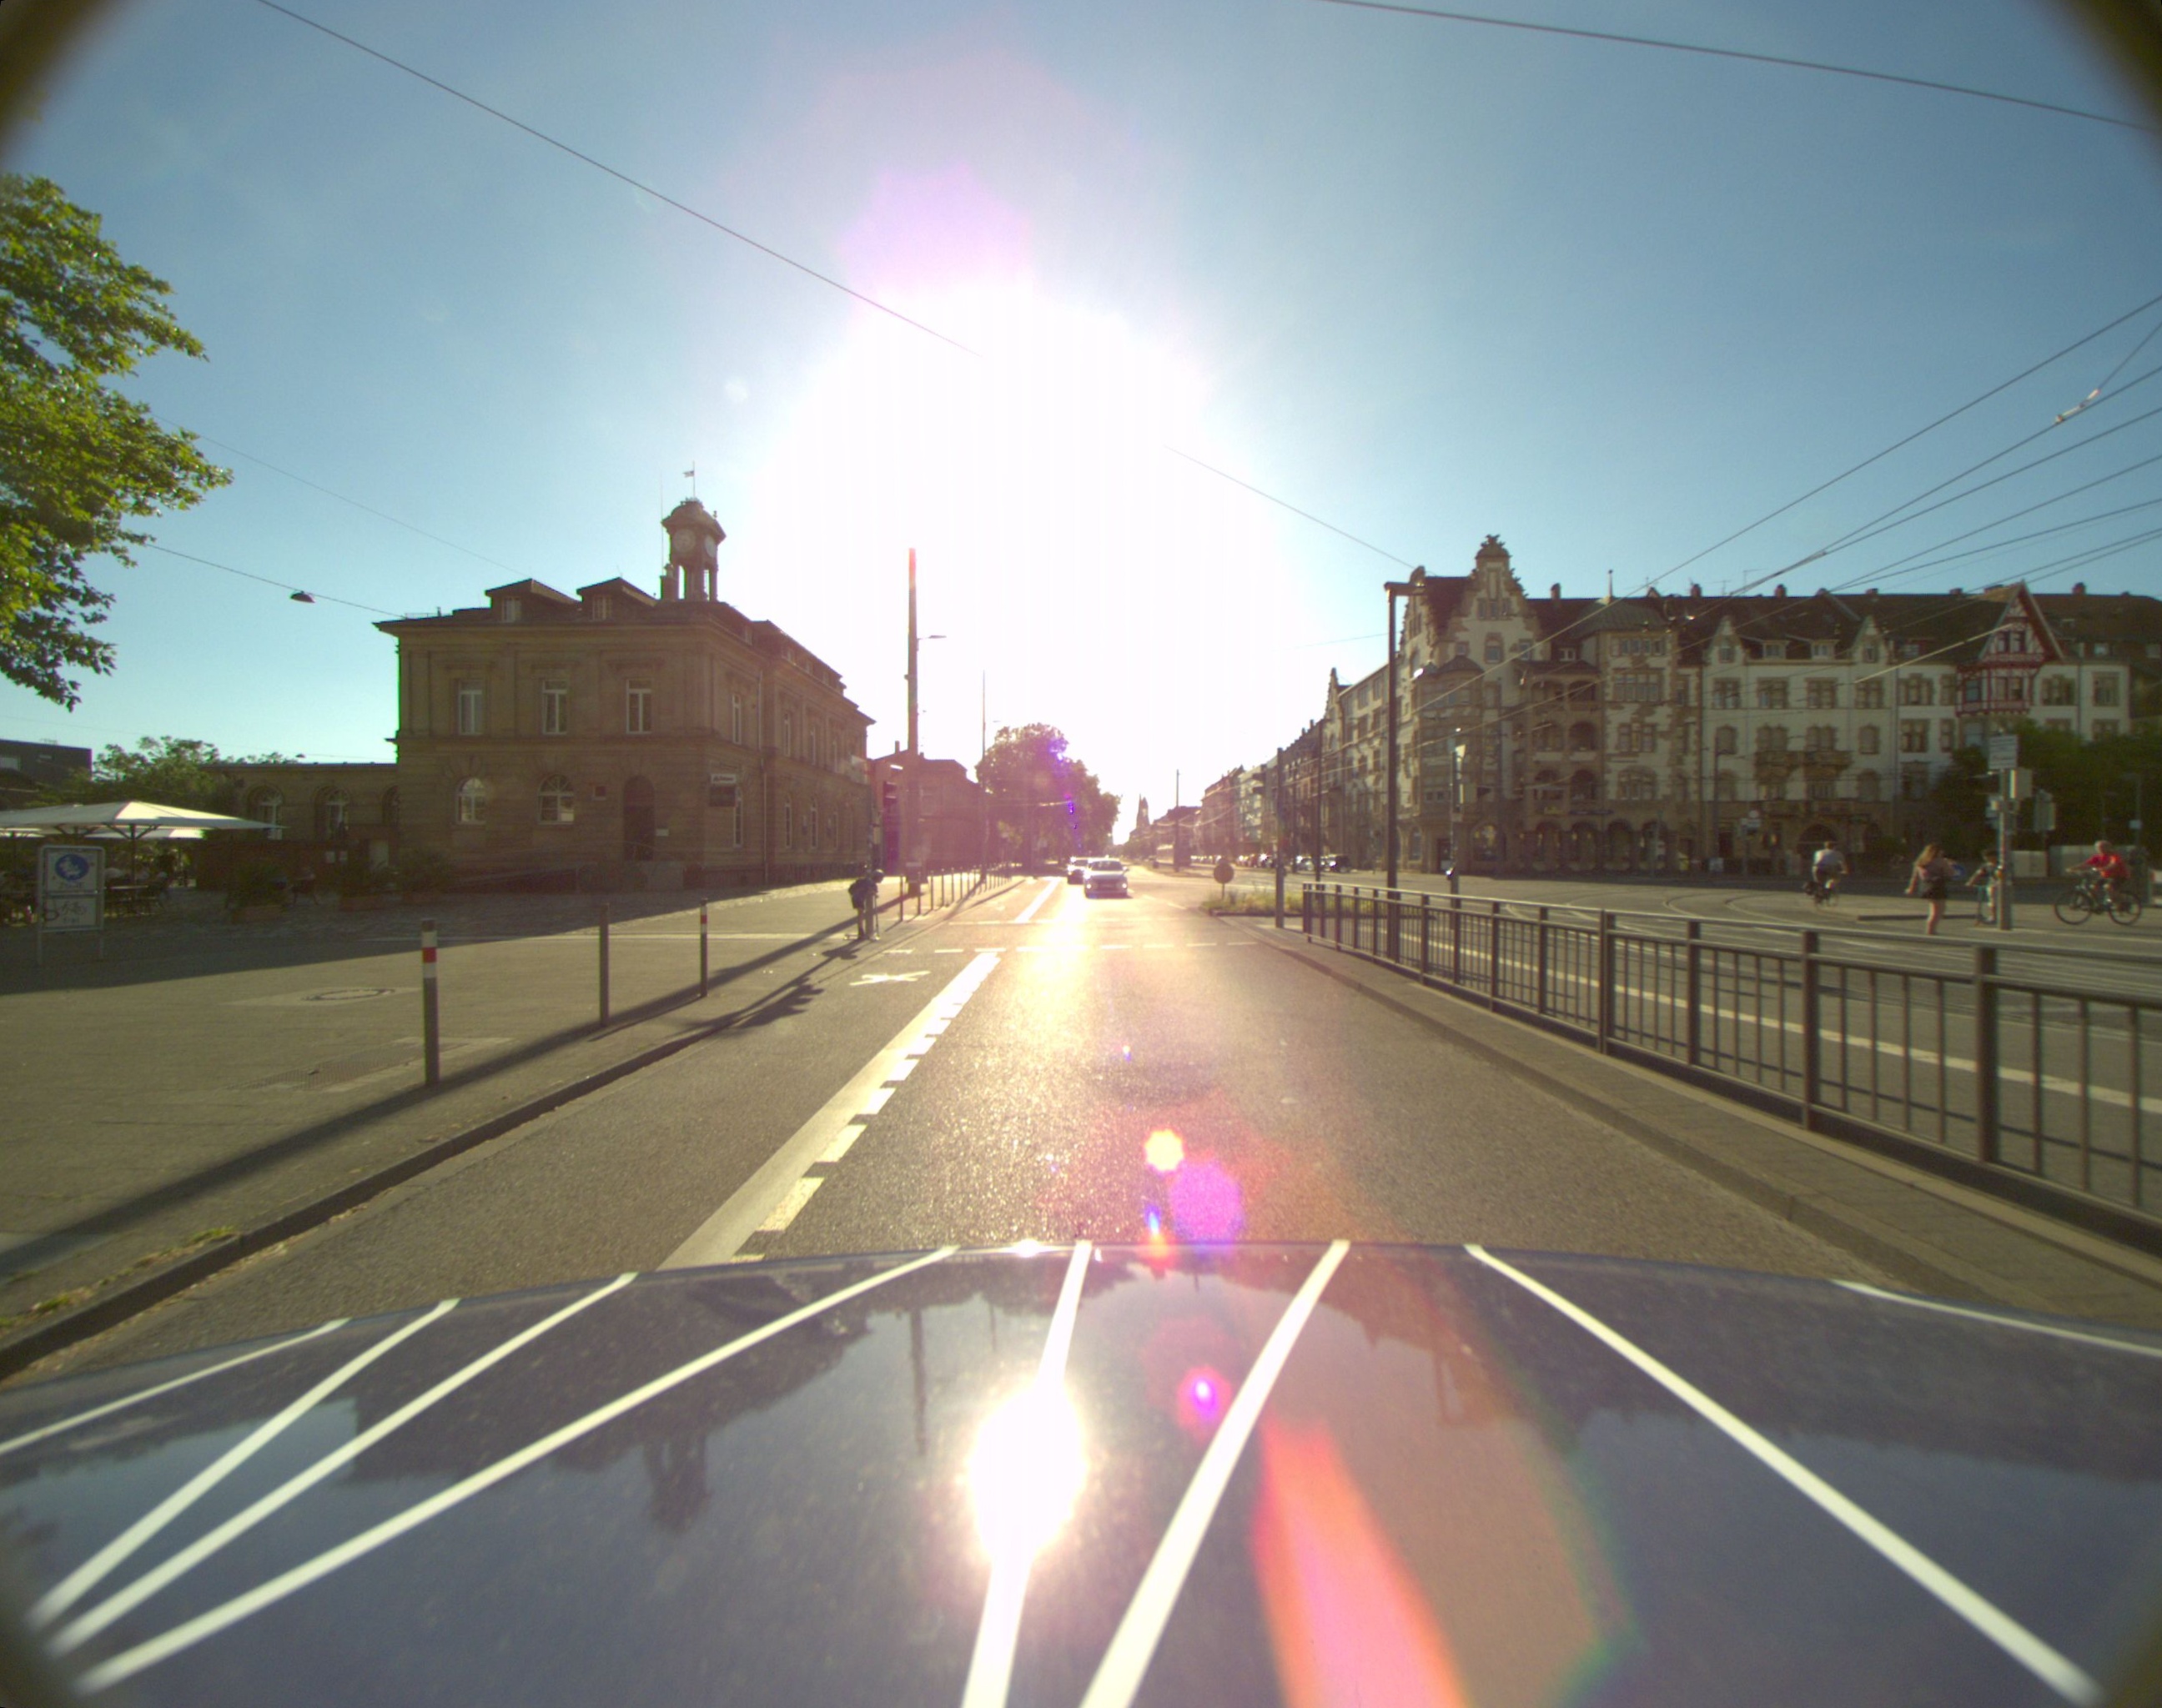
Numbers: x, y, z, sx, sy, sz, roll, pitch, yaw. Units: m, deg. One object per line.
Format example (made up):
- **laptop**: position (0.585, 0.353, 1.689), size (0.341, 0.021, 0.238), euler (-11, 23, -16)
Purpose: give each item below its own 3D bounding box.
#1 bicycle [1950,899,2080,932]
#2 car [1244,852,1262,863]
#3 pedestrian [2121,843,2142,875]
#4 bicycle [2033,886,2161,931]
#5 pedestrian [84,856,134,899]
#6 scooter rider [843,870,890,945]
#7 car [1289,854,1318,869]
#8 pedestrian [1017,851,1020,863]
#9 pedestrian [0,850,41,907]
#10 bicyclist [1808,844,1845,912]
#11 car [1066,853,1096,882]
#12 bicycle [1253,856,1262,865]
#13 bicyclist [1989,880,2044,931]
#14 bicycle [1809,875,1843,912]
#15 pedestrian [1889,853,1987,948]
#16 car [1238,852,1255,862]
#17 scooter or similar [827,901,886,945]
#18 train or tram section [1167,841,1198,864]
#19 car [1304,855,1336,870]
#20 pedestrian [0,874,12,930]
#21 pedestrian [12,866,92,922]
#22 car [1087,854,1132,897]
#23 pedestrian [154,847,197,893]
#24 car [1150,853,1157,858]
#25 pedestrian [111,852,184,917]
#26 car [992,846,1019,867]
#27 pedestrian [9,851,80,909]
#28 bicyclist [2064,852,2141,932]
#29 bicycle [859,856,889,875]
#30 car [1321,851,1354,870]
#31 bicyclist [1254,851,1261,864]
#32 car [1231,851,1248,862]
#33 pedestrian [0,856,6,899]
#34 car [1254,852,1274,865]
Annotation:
- **bicycle**: position (18.707, 1.227, 15.248), size (1.724, 0.605, 0.512), euler (-1, 1, 10)
- **car**: position (23.869, 0.499, 105.602), size (1.741, 1.516, 4.000), euler (-2, 0, 1)
- **pedestrian**: position (54.719, 0.250, 39.571), size (0.618, 1.672, 0.581), euler (0, 1, -32)
- **bicycle**: position (21.190, 1.110, 15.758), size (1.887, 0.873, 0.608), euler (0, 1, 9)
- **pedestrian**: position (-33.405, 0.796, 26.126), size (0.839, 1.458, 0.664), euler (2, 1, -1)
- **scooter rider**: position (-4.071, 1.004, 14.431), size (0.703, 1.389, 0.600), euler (0, 1, 1)
- **car**: position (24.074, 0.779, 82.339), size (1.741, 1.516, 3.998), euler (-2, 0, -4)
- **pedestrian**: position (-8.403, 0.436, 102.504), size (0.364, 1.635, 0.390), euler (0, 1, 2)
- **pedestrian**: position (-33.145, 0.744, 23.422), size (1.001, 1.734, 1.034), euler (1, 1, -36)
- **bicyclist**: position (20.151, 0.622, 20.538), size (0.669, 1.797, 0.645), euler (-1, 1, -40)
- **car**: position (0.037, 0.749, 43.406), size (1.649, 1.555, 3.666), euler (-1, 0, 1)
- **bicycle**: position (21.740, 0.804, 93.706), size (0.607, 0.996, 2.068), euler (0, 0, -1)
- **bicyclist**: position (18.730, 1.028, 15.220), size (0.462, 0.987, 0.511), euler (0, 1, 11)
- **bicycle**: position (20.288, 1.060, 20.675), size (1.893, 0.906, 0.512), euler (0, 1, -41)
- **pedestrian**: position (15.279, 0.792, 13.564), size (0.933, 1.635, 0.795), euler (0, 1, -12)
- **car**: position (24.109, 0.431, 110.894), size (1.741, 1.516, 4.000), euler (-2, 0, 1)
- **scooter or similar**: position (-4.240, 1.292, 14.351), size (1.023, 0.807, 0.265), euler (0, 1, 1)
- **train or tram section**: position (15.983, -0.182, 121.283), size (2.781, 3.378, 19.476), euler (-1, 0, 1)
- **car**: position (24.124, 0.791, 76.937), size (1.727, 1.467, 4.432), euler (0, 0, -1)
- **pedestrian**: position (-26.892, 1.178, 18.556), size (0.673, 1.368, 0.654), euler (0, 1, 10)
- **pedestrian**: position (-26.649, 1.023, 19.691), size (0.772, 1.371, 1.000), euler (2, 1, 14)
- **car**: position (1.117, 0.810, 30.392), size (1.649, 1.555, 3.666), euler (-1, 0, 1)
- **pedestrian**: position (-34.855, 0.614, 29.250), size (0.839, 1.734, 0.664), euler (2, 1, -2)
- **car**: position (23.103, 0.439, 243.421), size (1.780, 1.660, 4.000), euler (0, 0, 0)
- **pedestrian**: position (-25.839, 0.824, 21.058), size (1.039, 1.734, 0.996), euler (-1, 2, -37)
- **car**: position (-7.314, 0.224, 74.041), size (1.833, 2.034, 4.001), euler (-1, 1, 5)
- **pedestrian**: position (-31.852, 0.779, 23.369), size (1.001, 1.734, 1.034), euler (1, 1, -36)
- **bicyclist**: position (21.080, 0.769, 15.693), size (0.629, 1.609, 0.684), euler (0, 1, 9)
- **bicycle**: position (-12.751, 0.712, 46.816), size (1.650, 1.174, 0.690), euler (1, 1, -1)
- **car**: position (24.090, 0.592, 71.484), size (1.780, 1.660, 4.000), euler (0, 0, 0)
- **bicyclist**: position (21.744, 0.379, 93.781), size (0.683, 1.609, 0.630), euler (0, 1, 0)
- **car**: position (24.113, 0.373, 115.636), size (1.741, 1.516, 4.000), euler (-2, 0, 1)
- **pedestrian**: position (-37.323, 0.805, 25.709), size (0.840, 1.458, 0.663), euler (1, 1, -12)
- **car**: position (23.908, 0.574, 99.444), size (1.741, 1.516, 4.000), euler (-2, 0, 1)
